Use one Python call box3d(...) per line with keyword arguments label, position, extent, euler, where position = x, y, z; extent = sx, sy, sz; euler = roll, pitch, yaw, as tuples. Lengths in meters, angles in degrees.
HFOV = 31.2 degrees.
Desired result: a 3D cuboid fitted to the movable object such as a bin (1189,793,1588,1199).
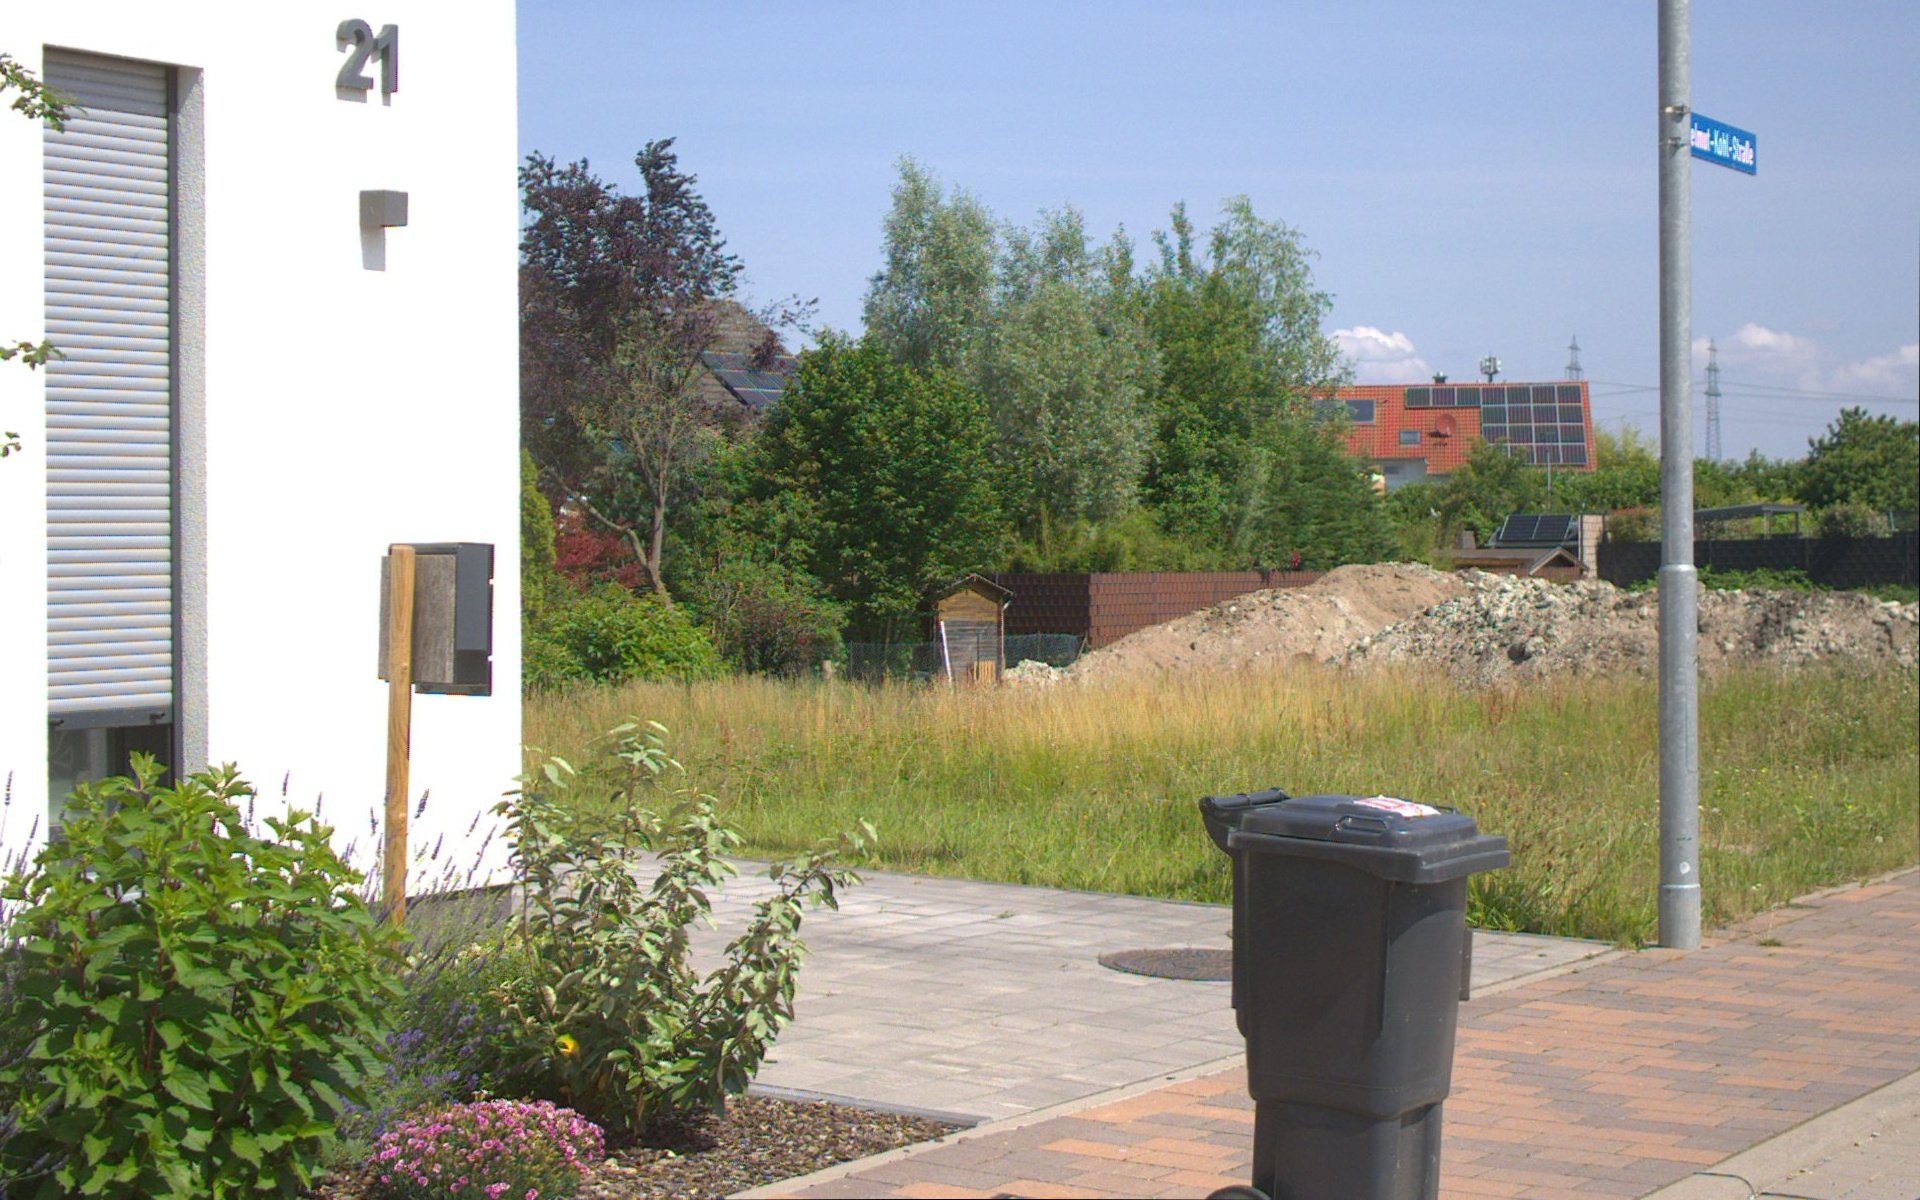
box3d(label="movable object such as a bin", position=(0.829, 0.867, 6.617), extent=(0.624, 0.945, 0.499), euler=(0, 0, 28))
